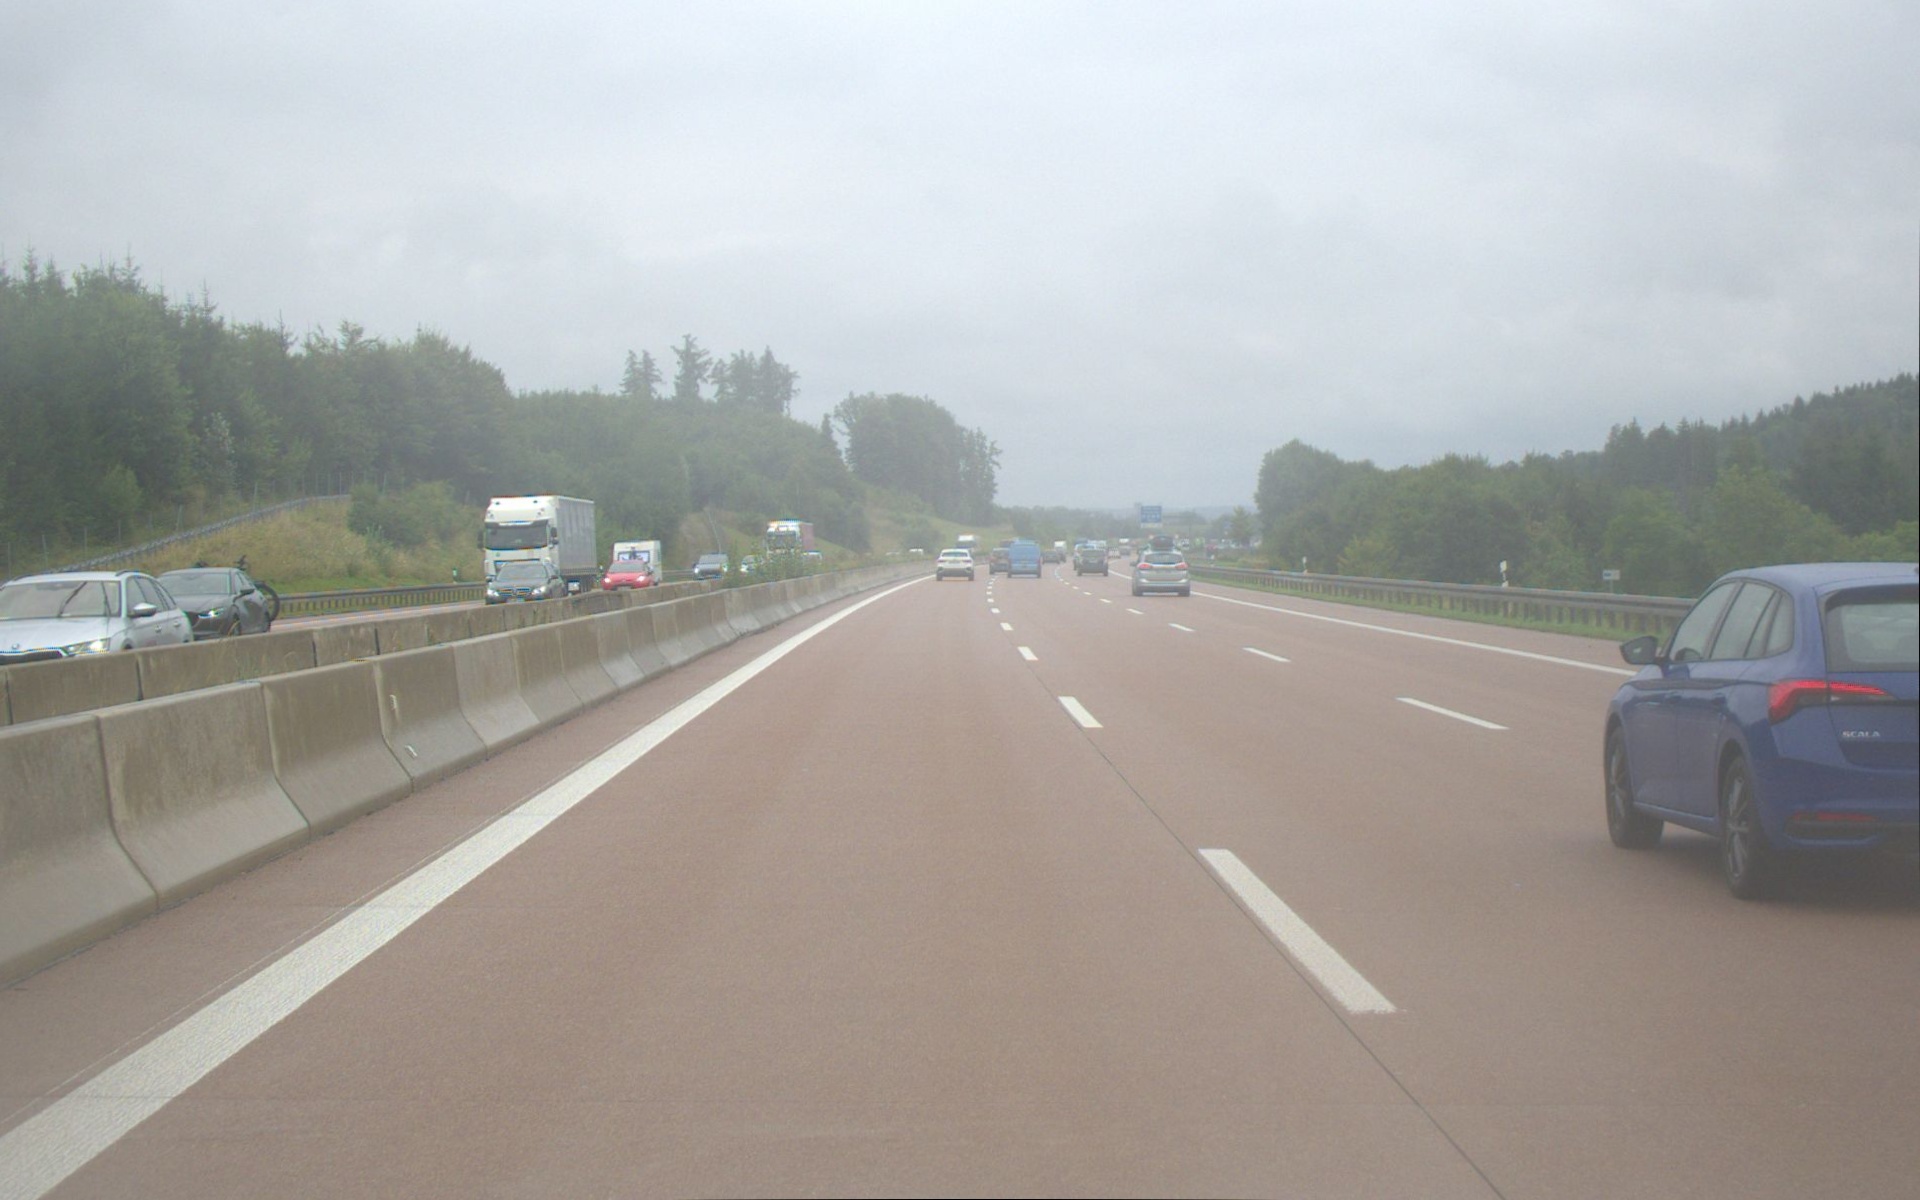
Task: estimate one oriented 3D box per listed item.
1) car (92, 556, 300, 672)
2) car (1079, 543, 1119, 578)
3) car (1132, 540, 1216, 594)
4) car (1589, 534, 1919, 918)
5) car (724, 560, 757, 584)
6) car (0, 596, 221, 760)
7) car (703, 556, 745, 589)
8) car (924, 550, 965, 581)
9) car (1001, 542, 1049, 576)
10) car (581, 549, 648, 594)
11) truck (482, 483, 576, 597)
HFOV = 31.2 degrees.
[{"bbox_3d":[-12.960,0.240,58.705,2.280,1.855,5.728,1,0,0],"label":"car"},{"bbox_3d":[8.180,-2.307,202.136,1.993,2.007,4.000,1,0,-2],"label":"car"},{"bbox_3d":[7.176,-1.091,115.817,2.322,1.744,4.877,1,0,-2],"label":"car"},{"bbox_3d":[4.218,0.529,16.088,1.771,1.559,4.146,1,0,0],"label":"car"},{"bbox_3d":[-15.187,-1.918,238.049,1.993,1.570,4.524,-1,0,0],"label":"car"},{"bbox_3d":[-9.111,0.747,35.310,1.993,1.555,4.946,1,0,0],"label":"car"},{"bbox_3d":[-11.869,-1.406,173.299,1.692,1.552,5.677,-2,1,0],"label":"car"},{"bbox_3d":[-0.769,-1.689,168.929,1.874,1.439,4.877,1,0,-1],"label":"car"},{"bbox_3d":[3.537,-2.226,188.568,2.322,1.744,4.877,1,0,-2],"label":"car"},{"bbox_3d":[-12.795,-1.046,127.548,1.993,1.540,4.280,-2,0,0],"label":"car"},{"bbox_3d":[-16.506,-2.262,131.926,2.768,4.161,6.001,-2,0,0],"label":"truck"}]
